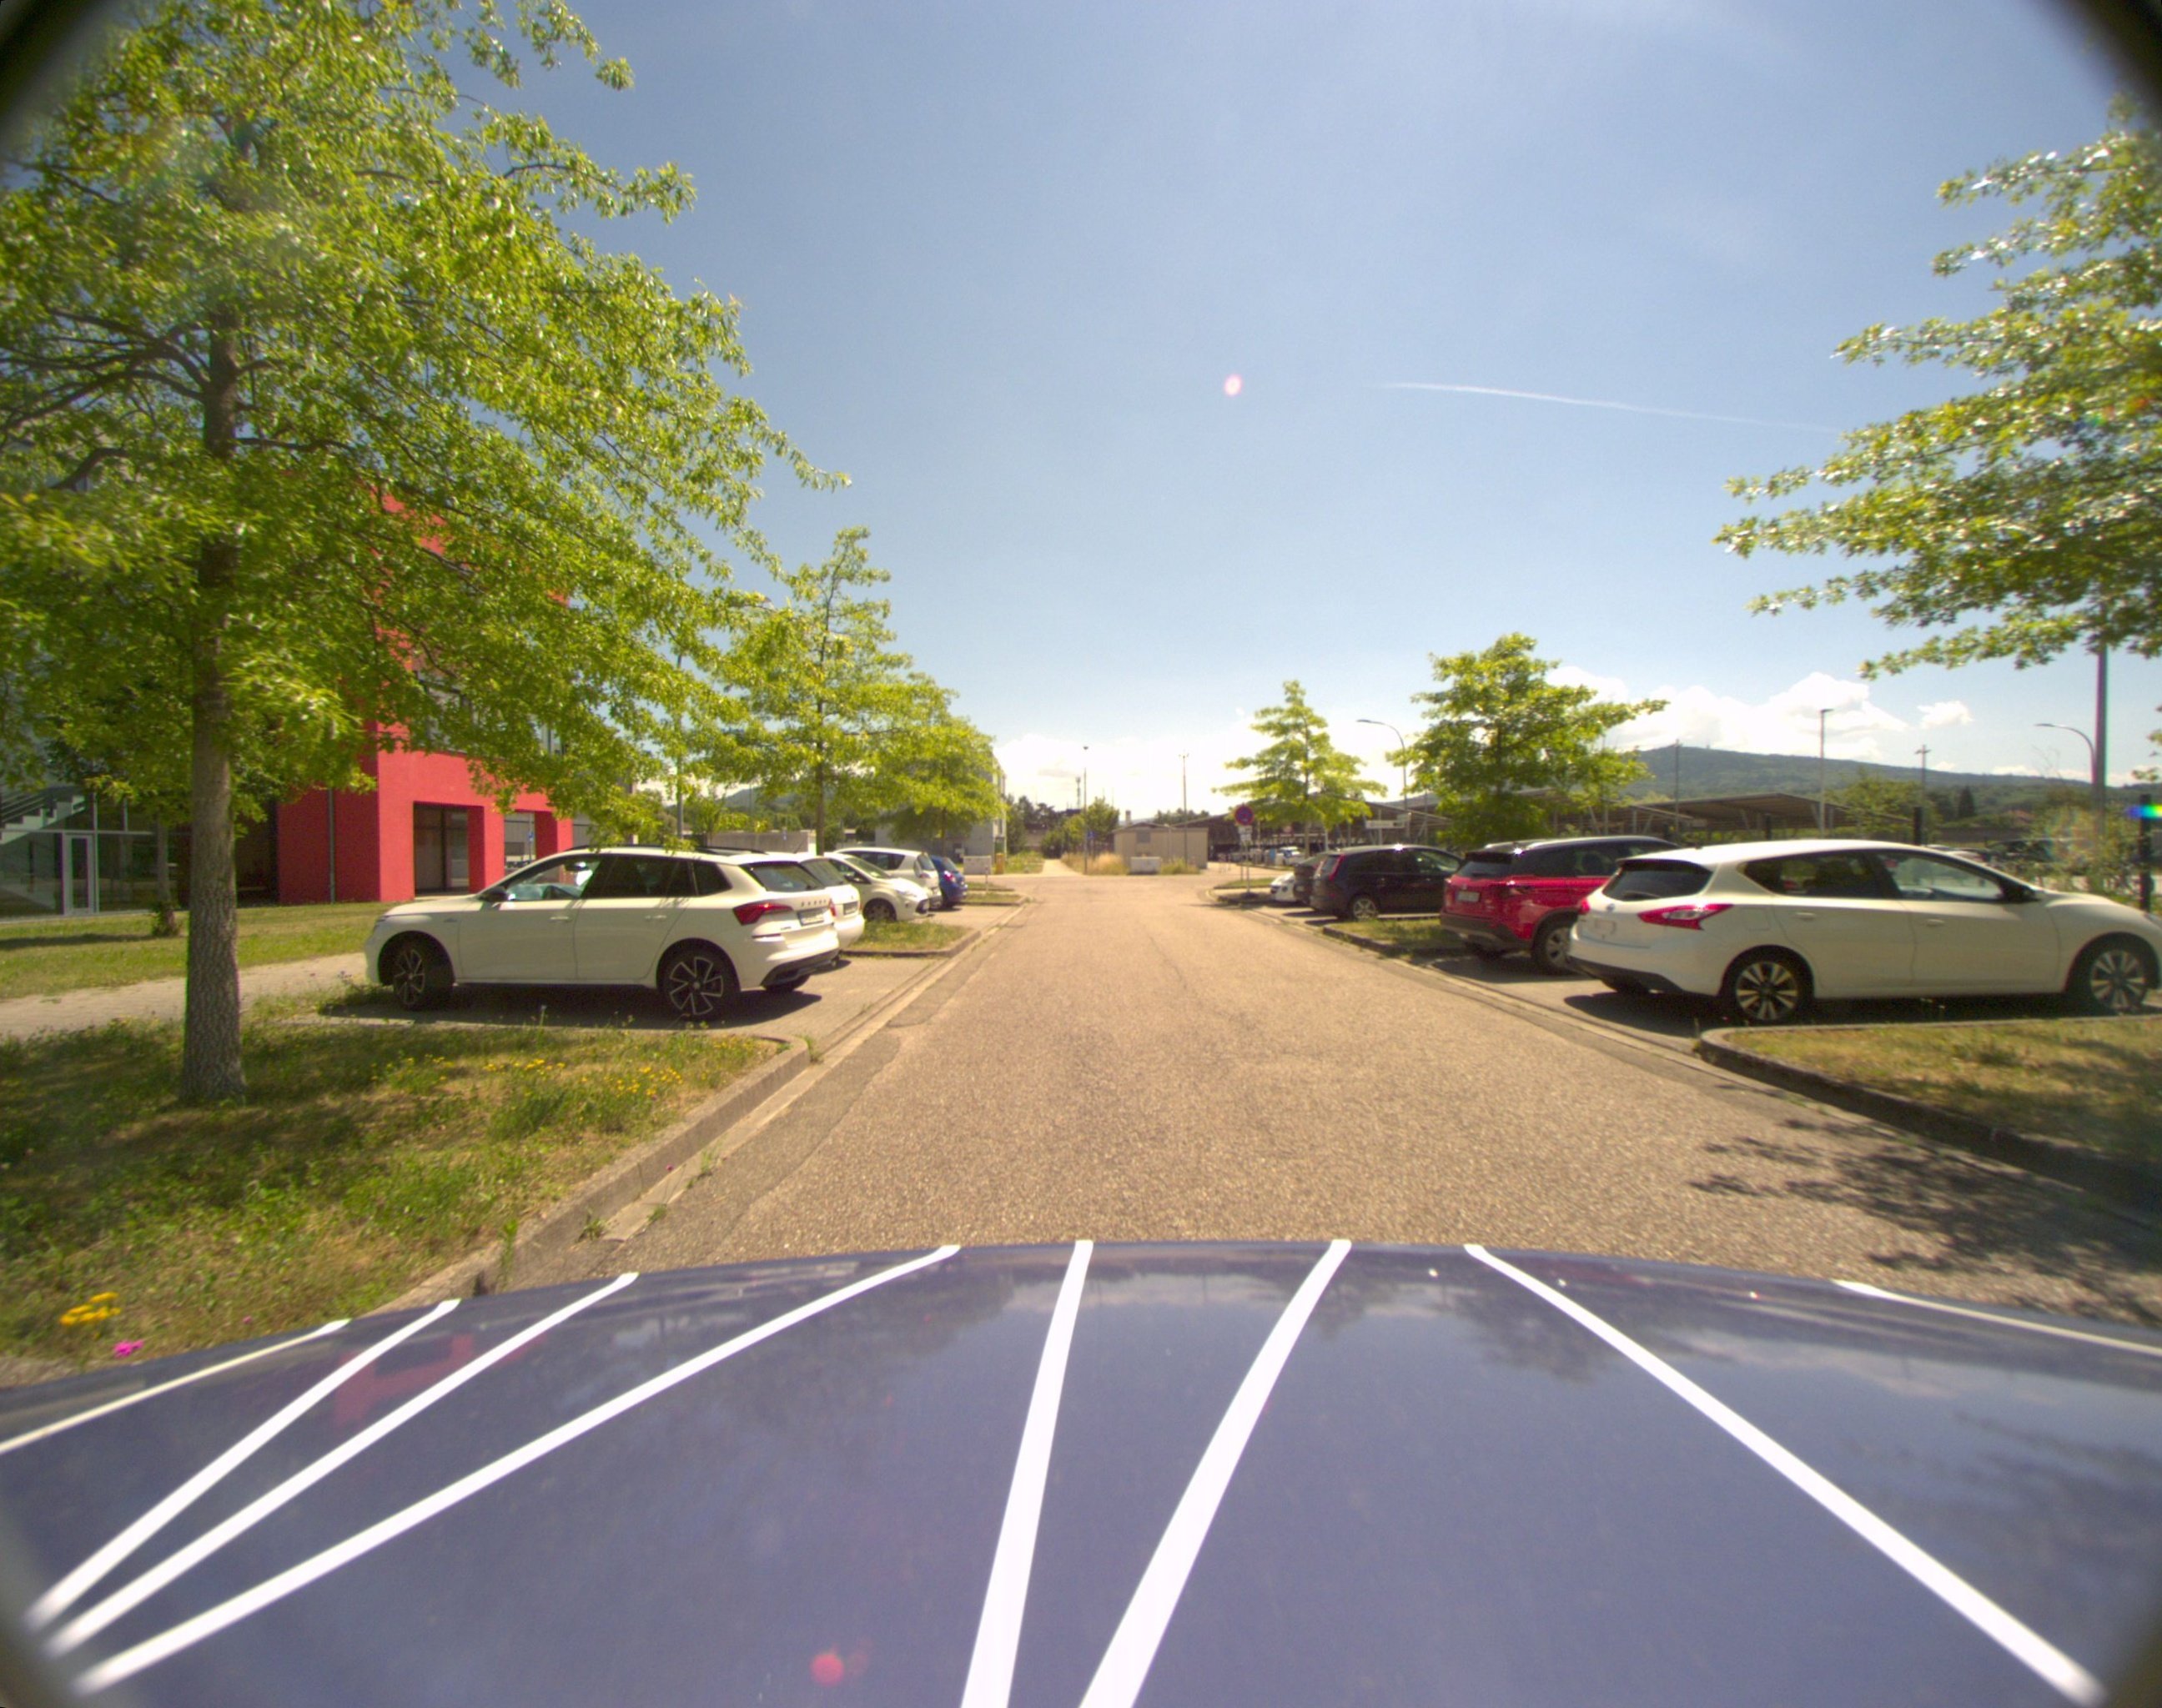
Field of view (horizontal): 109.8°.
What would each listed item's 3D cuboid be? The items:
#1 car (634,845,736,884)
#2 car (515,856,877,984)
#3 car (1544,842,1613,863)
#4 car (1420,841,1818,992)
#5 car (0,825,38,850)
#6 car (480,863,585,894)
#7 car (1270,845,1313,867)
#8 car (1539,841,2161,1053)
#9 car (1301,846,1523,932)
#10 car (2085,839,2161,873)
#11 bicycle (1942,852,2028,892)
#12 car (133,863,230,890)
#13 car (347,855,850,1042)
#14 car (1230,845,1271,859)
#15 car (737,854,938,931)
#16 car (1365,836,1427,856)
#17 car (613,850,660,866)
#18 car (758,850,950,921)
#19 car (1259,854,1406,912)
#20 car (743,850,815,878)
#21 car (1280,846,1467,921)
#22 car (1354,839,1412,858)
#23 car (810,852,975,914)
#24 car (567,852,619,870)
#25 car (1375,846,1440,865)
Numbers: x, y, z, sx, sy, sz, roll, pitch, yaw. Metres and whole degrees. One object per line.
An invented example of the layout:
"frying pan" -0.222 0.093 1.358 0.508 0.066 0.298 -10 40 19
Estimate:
"car" -19.271 0.503 37.074 3.997 1.764 1.811 -1 -1 0
"car" -4.849 0.793 9.993 3.844 1.515 1.779 0 1 0
"car" 34.986 -0.079 53.485 3.774 1.428 1.723 -1 1 -4
"car" 6.645 0.719 9.673 3.849 1.582 1.727 -2 0 -2
"car" -65.032 -0.949 45.165 3.626 1.461 1.658 0 1 -1
"car" -26.423 1.190 36.711 3.706 1.433 1.788 0 -2 -3
"car" 14.723 0.137 53.278 1.723 1.428 3.774 -1 0 -4
"car" 6.844 0.751 6.913 4.182 1.504 1.807 -3 0 2
"car" 6.849 0.704 16.061 3.915 1.582 1.728 -2 0 4
"car" 48.839 0.069 34.124 1.698 1.506 4.403 -1 0 0
"bicycle" 22.298 0.435 18.752 1.596 0.976 0.462 -1 1 -2
"car" -53.651 1.334 45.383 3.626 1.461 1.658 -1 3 -1
"car" -4.474 0.796 7.412 3.842 1.544 1.780 0 0 5
"car" 16.970 -0.195 76.169 3.774 1.428 1.723 -1 1 -4
"car" -4.990 0.764 15.876 3.626 1.454 1.611 1 0 2
"car" 22.703 -0.577 54.800 3.774 1.428 1.723 -1 1 -4
"car" -43.870 0.375 74.976 3.625 1.493 1.658 -1 3 0
"car" -5.444 0.738 18.575 4.119 1.641 1.774 0 0 2
"car" 6.972 0.778 21.287 3.513 1.433 1.727 -2 0 0
"car" -18.167 0.593 45.888 3.626 1.493 1.682 -1 3 -1
"car" 7.108 0.683 18.700 3.849 1.584 1.829 -2 0 -3
"car" 23.042 -0.414 58.016 3.774 1.428 1.723 -1 1 -4
"car" -5.083 0.763 20.788 4.004 1.481 1.728 2 0 4
"car" -44.553 0.623 69.372 3.625 1.493 1.658 -1 3 0
"car" 22.609 0.087 52.711 3.774 1.221 1.723 -1 0 -4
